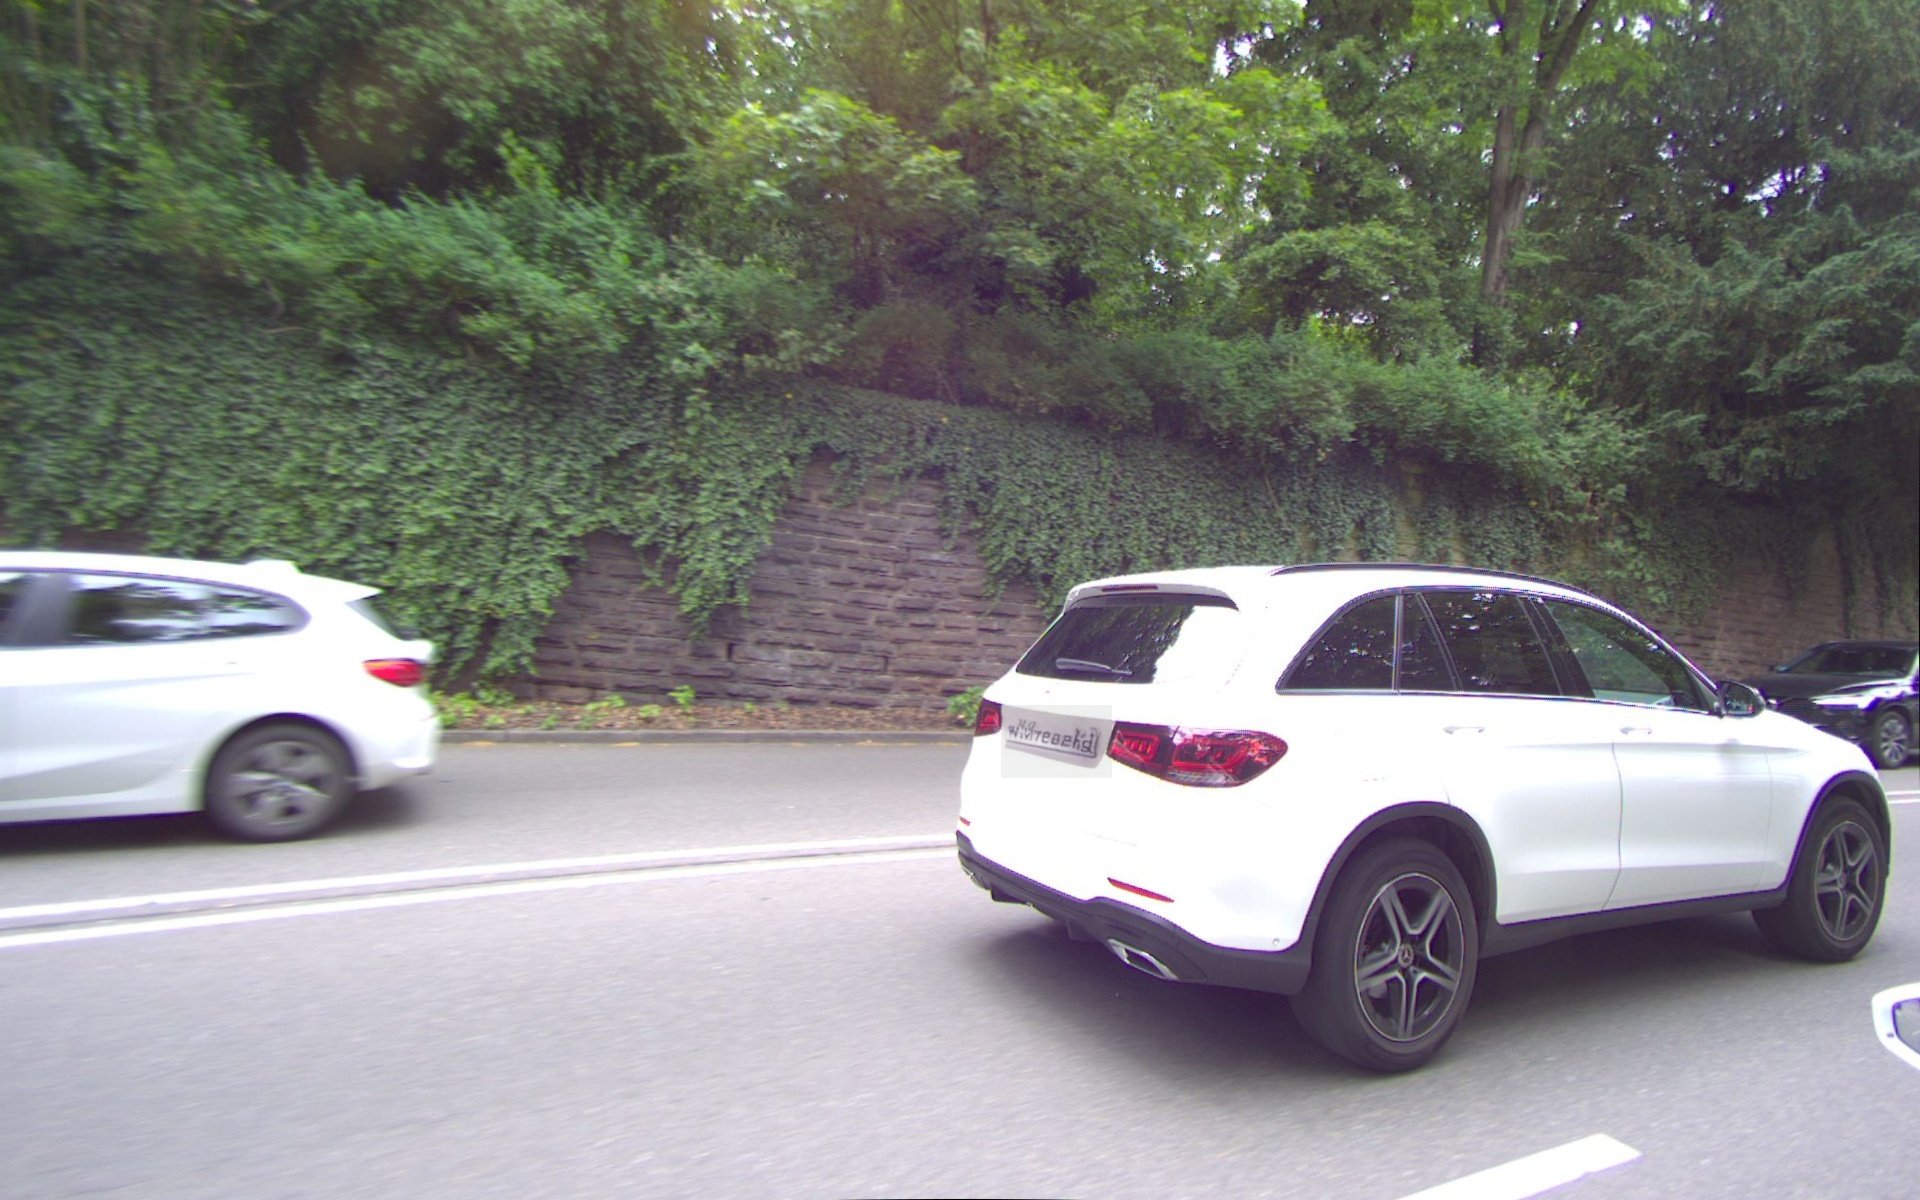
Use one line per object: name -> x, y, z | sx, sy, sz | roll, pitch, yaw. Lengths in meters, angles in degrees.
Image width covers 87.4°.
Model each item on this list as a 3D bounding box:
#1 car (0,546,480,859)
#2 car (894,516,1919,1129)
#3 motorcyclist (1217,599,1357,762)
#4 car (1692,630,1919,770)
car -> -5.012, 0.440, 5.262 | 4.284, 1.435, 1.736 | 3, 0, -34
car -> 2.198, 0.687, 4.575 | 4.612, 1.627, 1.852 | 3, -1, -28
motorcyclist -> 3.285, 0.801, 10.126 | 1.079, 1.549, 0.746 | 3, -2, -21
car -> 12.534, 1.323, 13.795 | 4.442, 1.671, 1.848 | 2, -1, -20
